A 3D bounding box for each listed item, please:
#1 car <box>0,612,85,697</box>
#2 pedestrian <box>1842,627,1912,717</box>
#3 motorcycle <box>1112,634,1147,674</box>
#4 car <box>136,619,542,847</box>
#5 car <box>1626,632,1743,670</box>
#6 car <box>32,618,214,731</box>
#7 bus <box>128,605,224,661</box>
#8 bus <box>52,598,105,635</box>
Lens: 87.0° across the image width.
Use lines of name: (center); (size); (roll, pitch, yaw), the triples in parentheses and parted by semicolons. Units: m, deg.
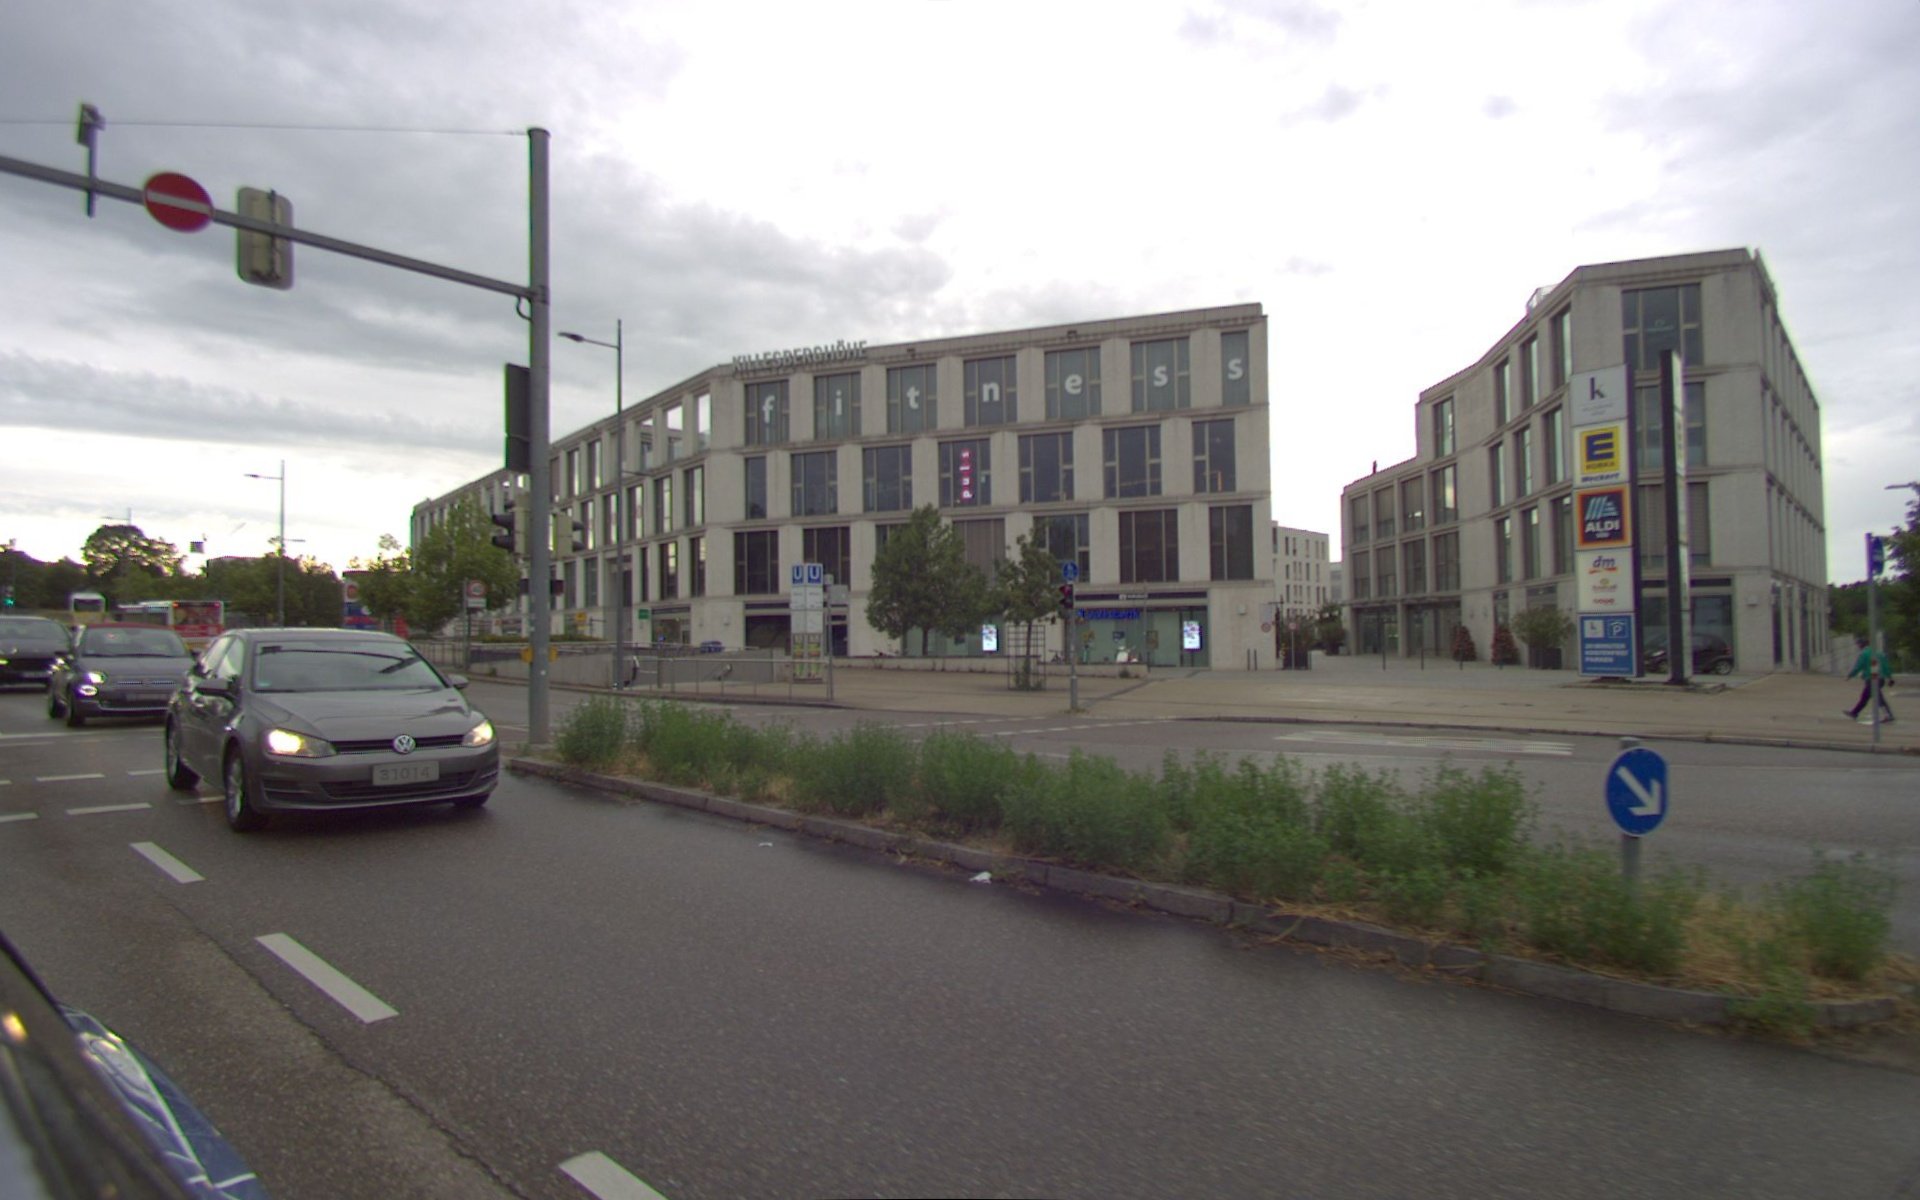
car: (-21.313, 1.193, 22.848); (3.999, 1.785, 1.880); (-1, -2, 42)
pedestrian: (17.718, 1.368, 19.558); (0.739, 1.699, 0.683); (1, -2, -16)
motorcycle: (6.190, 1.955, 36.867); (0.527, 1.413, 1.733); (-1, -2, 36)
car: (-5.355, 0.929, 8.516); (4.000, 1.450, 1.879); (-2, -4, 43)
car: (27.513, 1.919, 38.547); (3.269, 1.387, 1.558); (-1, -2, 18)
car: (-13.078, 1.089, 15.754); (3.657, 1.541, 1.648); (-1, -4, 43)
bus: (-45.639, 1.892, 58.770); (10.006, 3.012, 2.841); (-1, -2, 43)
bus: (-87.205, 1.658, 100.065); (9.140, 3.543, 2.778); (-1, -2, 42)
